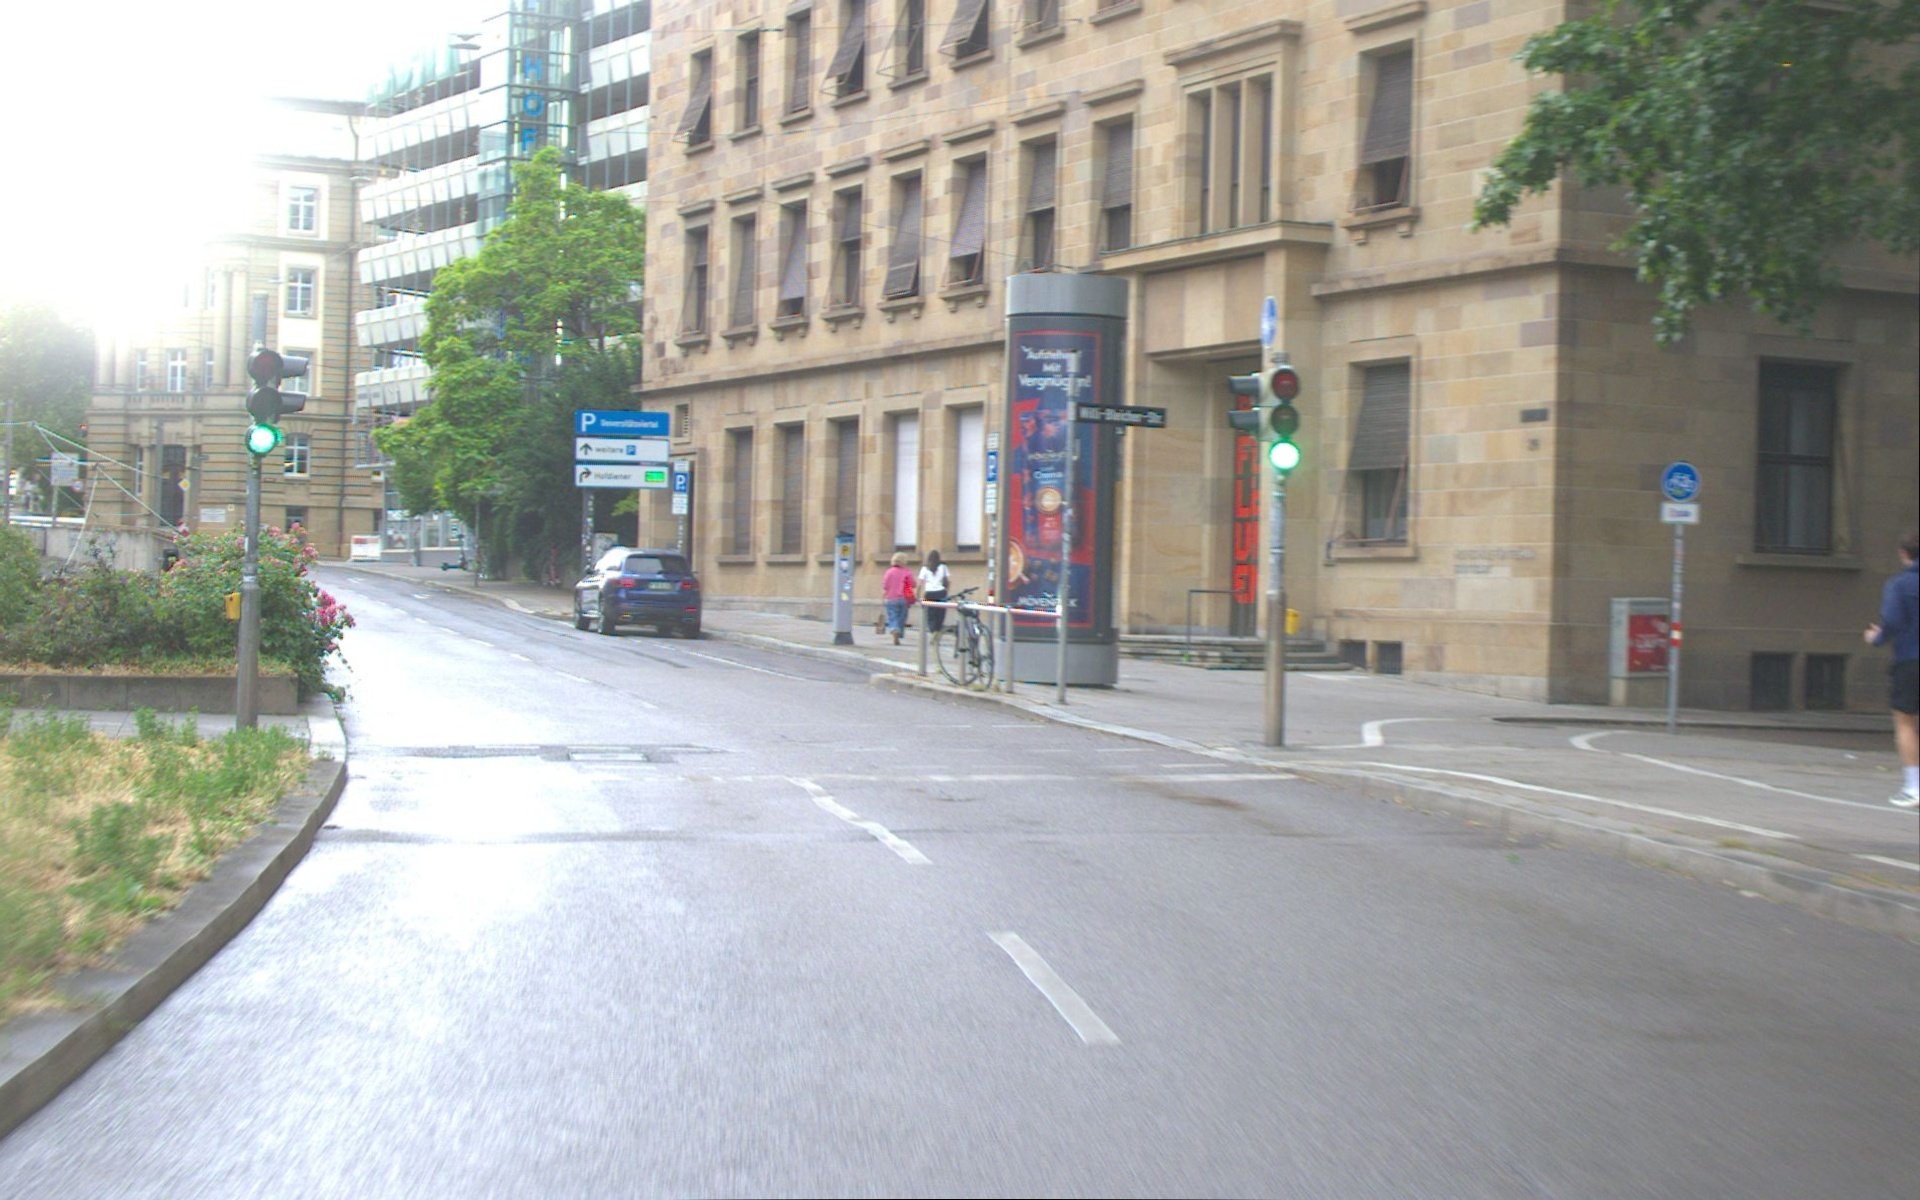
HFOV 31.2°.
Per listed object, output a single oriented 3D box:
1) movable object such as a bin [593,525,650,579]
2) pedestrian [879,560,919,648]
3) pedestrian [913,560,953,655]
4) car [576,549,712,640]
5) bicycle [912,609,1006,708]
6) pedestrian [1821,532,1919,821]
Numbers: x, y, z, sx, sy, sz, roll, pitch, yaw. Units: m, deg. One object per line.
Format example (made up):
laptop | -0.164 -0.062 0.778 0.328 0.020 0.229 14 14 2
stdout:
movable object such as a bin | -8.214 -1.172 83.376 1.239 1.305 1.234 0 1 -13
pedestrian | -1.046 0.066 58.600 0.524 1.487 0.674 2 1 -11
pedestrian | -0.468 0.125 58.953 0.524 1.597 0.674 2 1 -11
car | -6.027 -0.128 65.145 1.767 1.614 4.159 2 0 -16
bicycle | -0.023 0.636 37.970 0.489 1.009 1.928 2 1 -16
pedestrian | 5.967 0.471 21.594 0.779 1.766 0.863 2 1 -5
